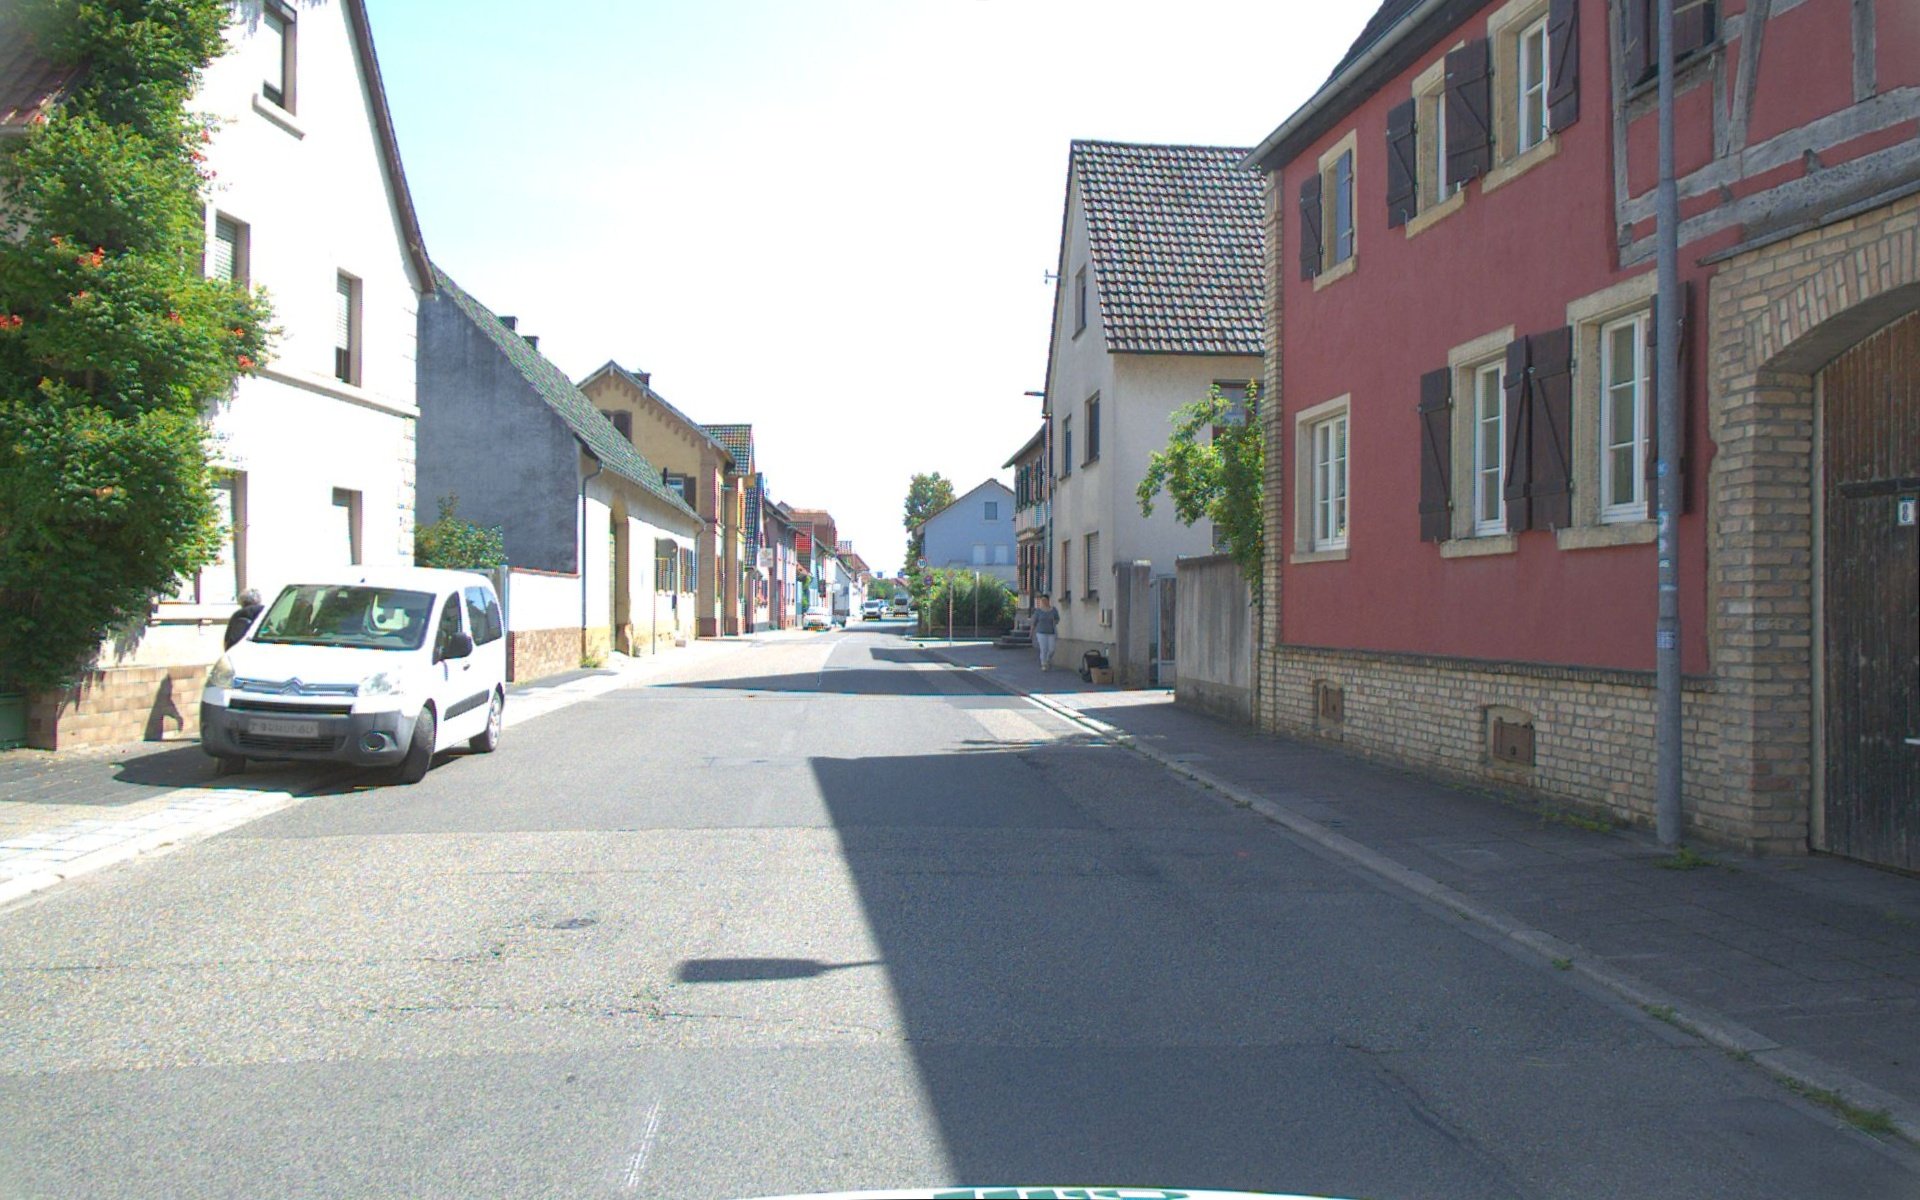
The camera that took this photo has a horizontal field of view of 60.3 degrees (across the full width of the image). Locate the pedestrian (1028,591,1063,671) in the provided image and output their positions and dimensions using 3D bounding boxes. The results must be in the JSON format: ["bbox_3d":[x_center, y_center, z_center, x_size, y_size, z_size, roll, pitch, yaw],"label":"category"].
[{"bbox_3d":[1.826,0.653,35.485,0.704,1.693,0.892,0,0,0],"label":"pedestrian"}]

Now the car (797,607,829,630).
[{"bbox_3d":[-9.715,1.235,109.647,1.954,1.467,3.997,0,0,-3],"label":"car"}]

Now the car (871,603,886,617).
[{"bbox_3d":[-11.117,1.349,225.237,1.954,1.780,3.998,1,0,-3],"label":"car"}]

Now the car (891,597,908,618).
[{"bbox_3d":[-7.624,0.952,208.927,1.977,2.612,3.997,0,0,-4],"label":"car"}]

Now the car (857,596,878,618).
[{"bbox_3d":[-9.657,0.738,171.950,2.116,2.116,3.996,0,-2,-4],"label":"car"}]

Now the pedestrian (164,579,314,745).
[{"bbox_3d":[-7.111,0.595,16.365,0.993,1.579,1.139,1,0,-3],"label":"pedestrian"}]

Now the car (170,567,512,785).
[{"bbox_3d":[-5.375,0.586,15.006,1.819,1.676,4.424,0,0,-6],"label":"car"}]

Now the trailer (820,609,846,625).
[{"bbox_3d":[-9.721,1.296,126.261,1.955,1.109,3.996,-1,1,-5],"label":"trailer"}]
